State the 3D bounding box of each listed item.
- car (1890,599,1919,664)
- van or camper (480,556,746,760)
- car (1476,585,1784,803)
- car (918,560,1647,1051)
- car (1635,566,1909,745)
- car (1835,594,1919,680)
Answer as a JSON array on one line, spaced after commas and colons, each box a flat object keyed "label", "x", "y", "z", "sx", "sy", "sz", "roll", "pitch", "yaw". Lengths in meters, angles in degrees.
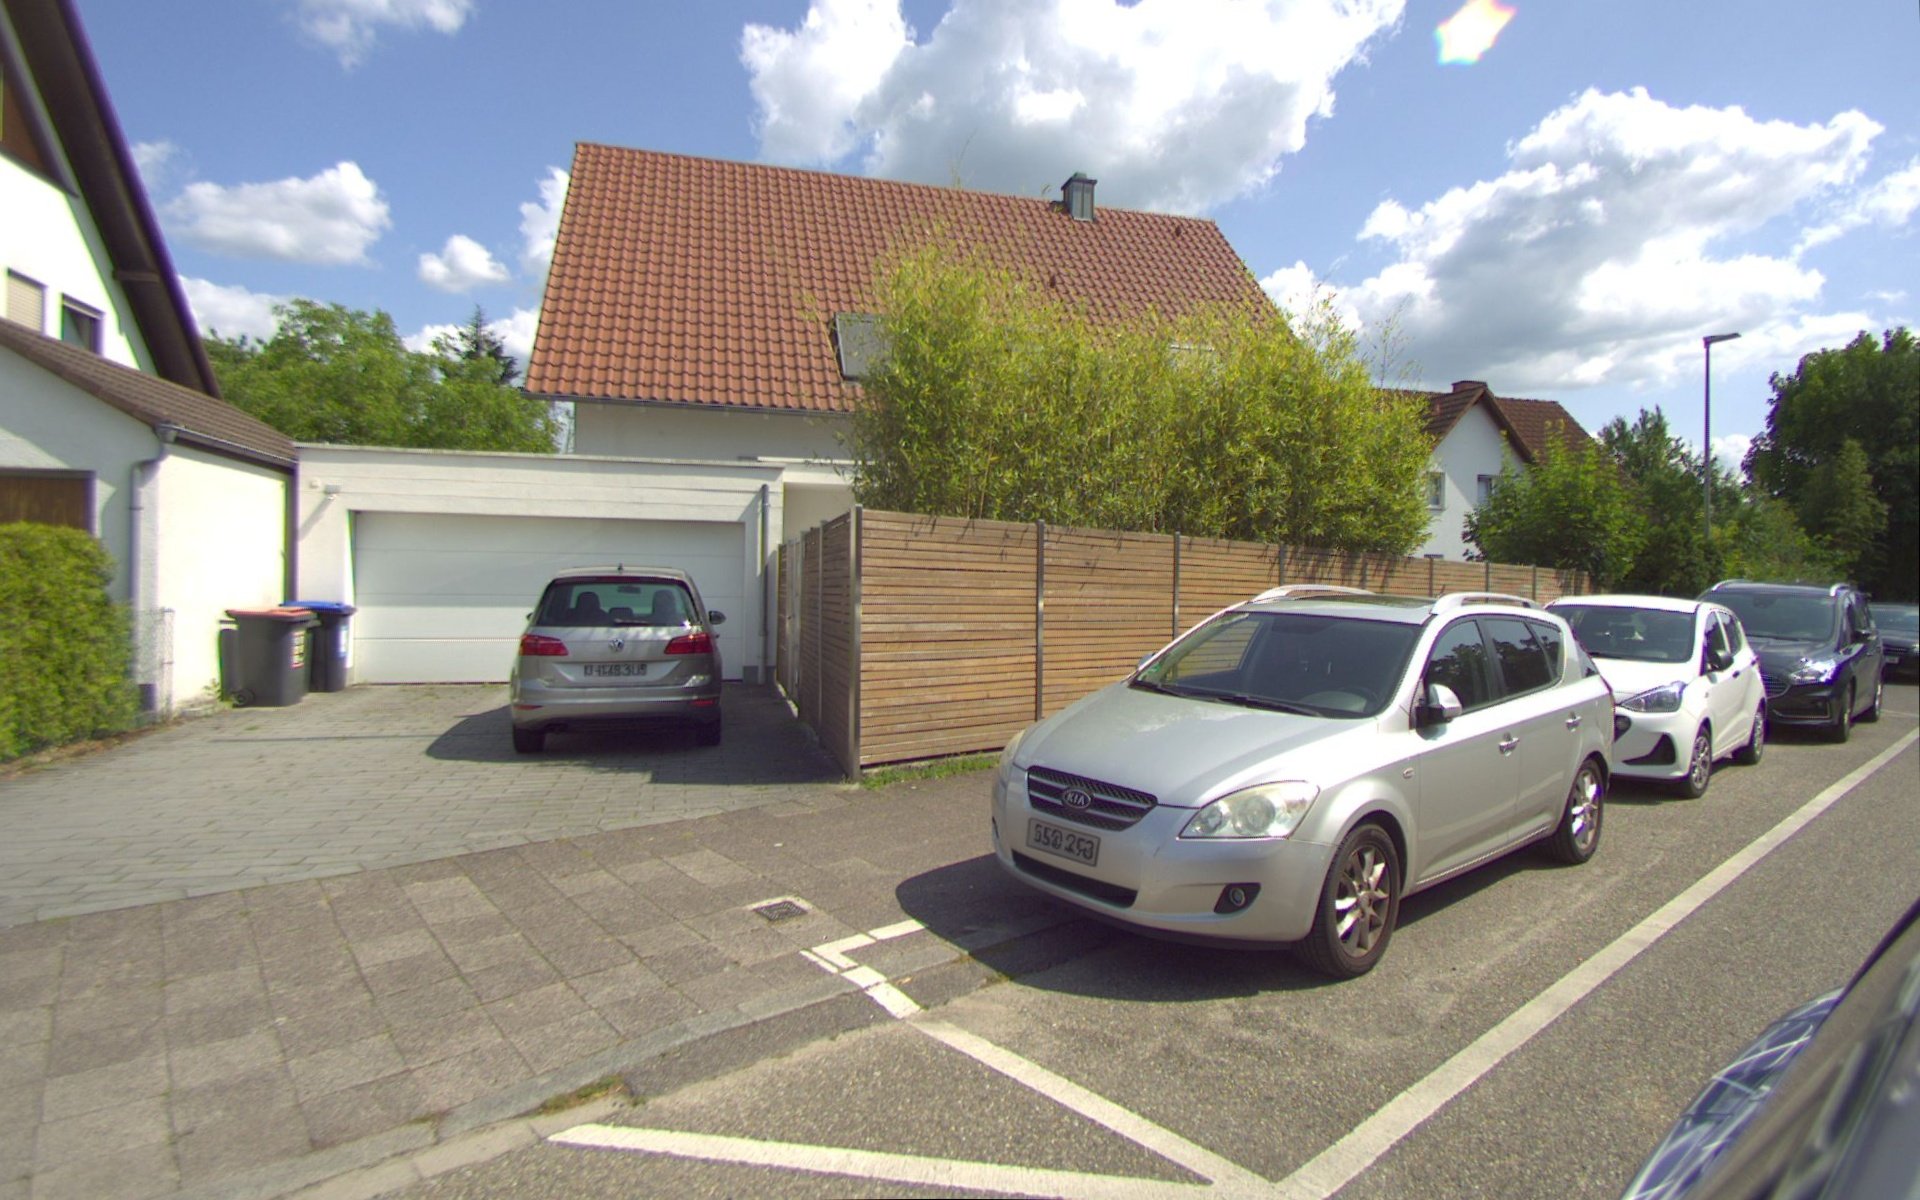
[{"label": "car", "x": 23.384, "y": 0.751, "z": 23.712, "sx": 3.987, "sy": 1.454, "sz": 1.685, "roll": 1, "pitch": 1, "yaw": -38}, {"label": "van or camper", "x": -3.315, "y": 0.401, "z": 9.884, "sx": 1.958, "sy": 1.549, "sz": 4.009, "roll": 1, "pitch": 1, "yaw": -18}, {"label": "car", "x": 5.967, "y": 0.679, "z": 8.856, "sx": 3.609, "sy": 1.524, "sz": 1.444, "roll": 1, "pitch": -1, "yaw": -43}, {"label": "car", "x": 1.961, "y": 0.657, "z": 5.310, "sx": 4.217, "sy": 1.572, "sz": 1.748, "roll": 0, "pitch": 0, "yaw": -42}, {"label": "car", "x": 10.072, "y": 0.546, "z": 12.410, "sx": 4.628, "sy": 1.796, "sz": 1.894, "roll": 1, "pitch": 1, "yaw": -42}, {"label": "car", "x": 18.856, "y": 0.673, "z": 20.006, "sx": 4.220, "sy": 1.524, "sz": 1.731, "roll": 0, "pitch": 2, "yaw": -41}]
